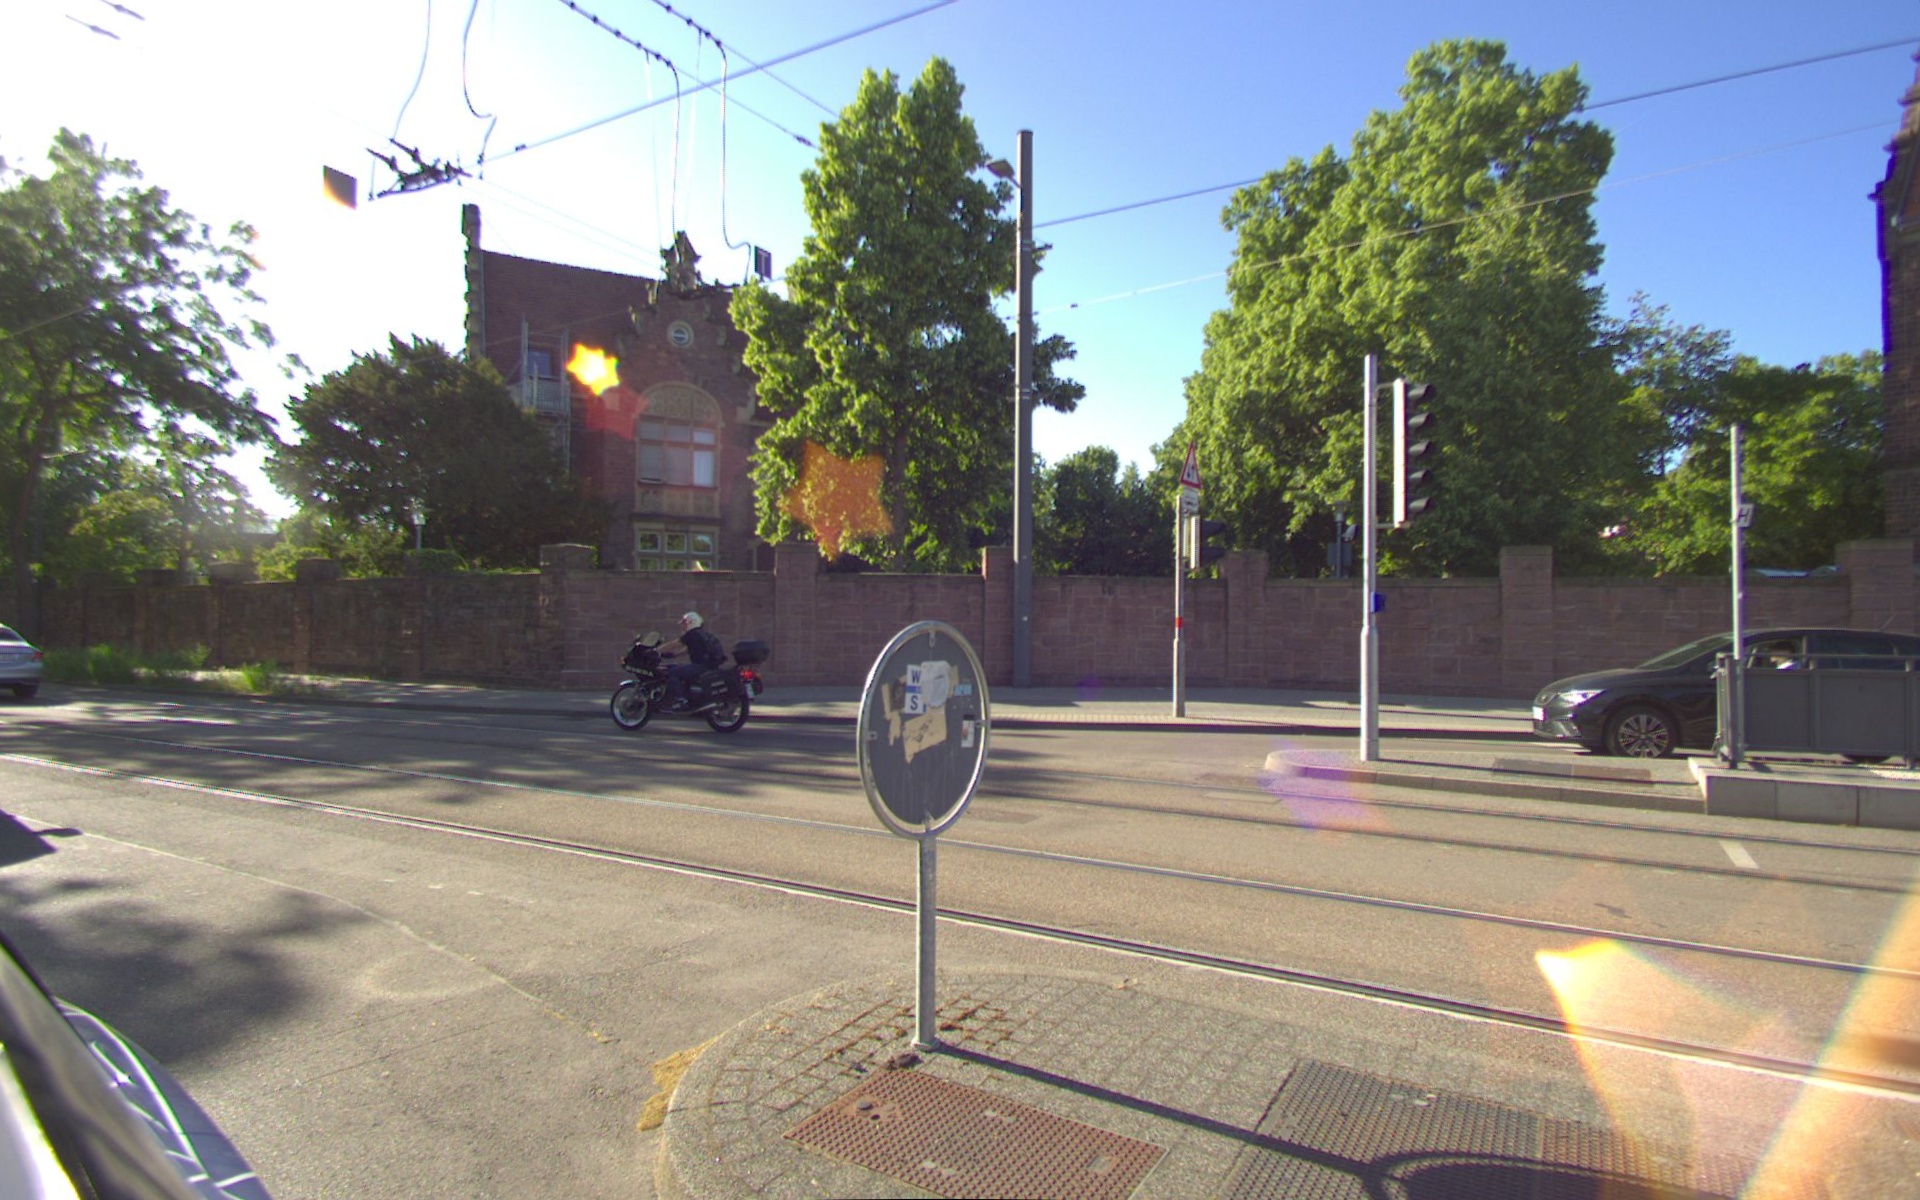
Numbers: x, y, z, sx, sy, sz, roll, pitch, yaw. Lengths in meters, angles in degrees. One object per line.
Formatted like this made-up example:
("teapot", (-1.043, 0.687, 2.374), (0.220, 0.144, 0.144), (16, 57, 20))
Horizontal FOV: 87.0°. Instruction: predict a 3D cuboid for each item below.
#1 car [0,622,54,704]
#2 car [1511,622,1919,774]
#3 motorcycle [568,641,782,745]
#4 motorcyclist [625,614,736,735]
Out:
("car", (-19.620, 1.173, 19.582), (4.608, 1.425, 1.869), (0, 0, 31))
("car", (8.257, 0.997, 10.845), (3.958, 1.414, 1.846), (0, -4, 24))
("motorcycle", (-3.809, 1.211, 13.627), (2.546, 1.253, 1.129), (0, -1, 12))
("motorcyclist", (-3.740, 0.966, 13.624), (1.044, 1.536, 1.124), (0, -1, 11))
